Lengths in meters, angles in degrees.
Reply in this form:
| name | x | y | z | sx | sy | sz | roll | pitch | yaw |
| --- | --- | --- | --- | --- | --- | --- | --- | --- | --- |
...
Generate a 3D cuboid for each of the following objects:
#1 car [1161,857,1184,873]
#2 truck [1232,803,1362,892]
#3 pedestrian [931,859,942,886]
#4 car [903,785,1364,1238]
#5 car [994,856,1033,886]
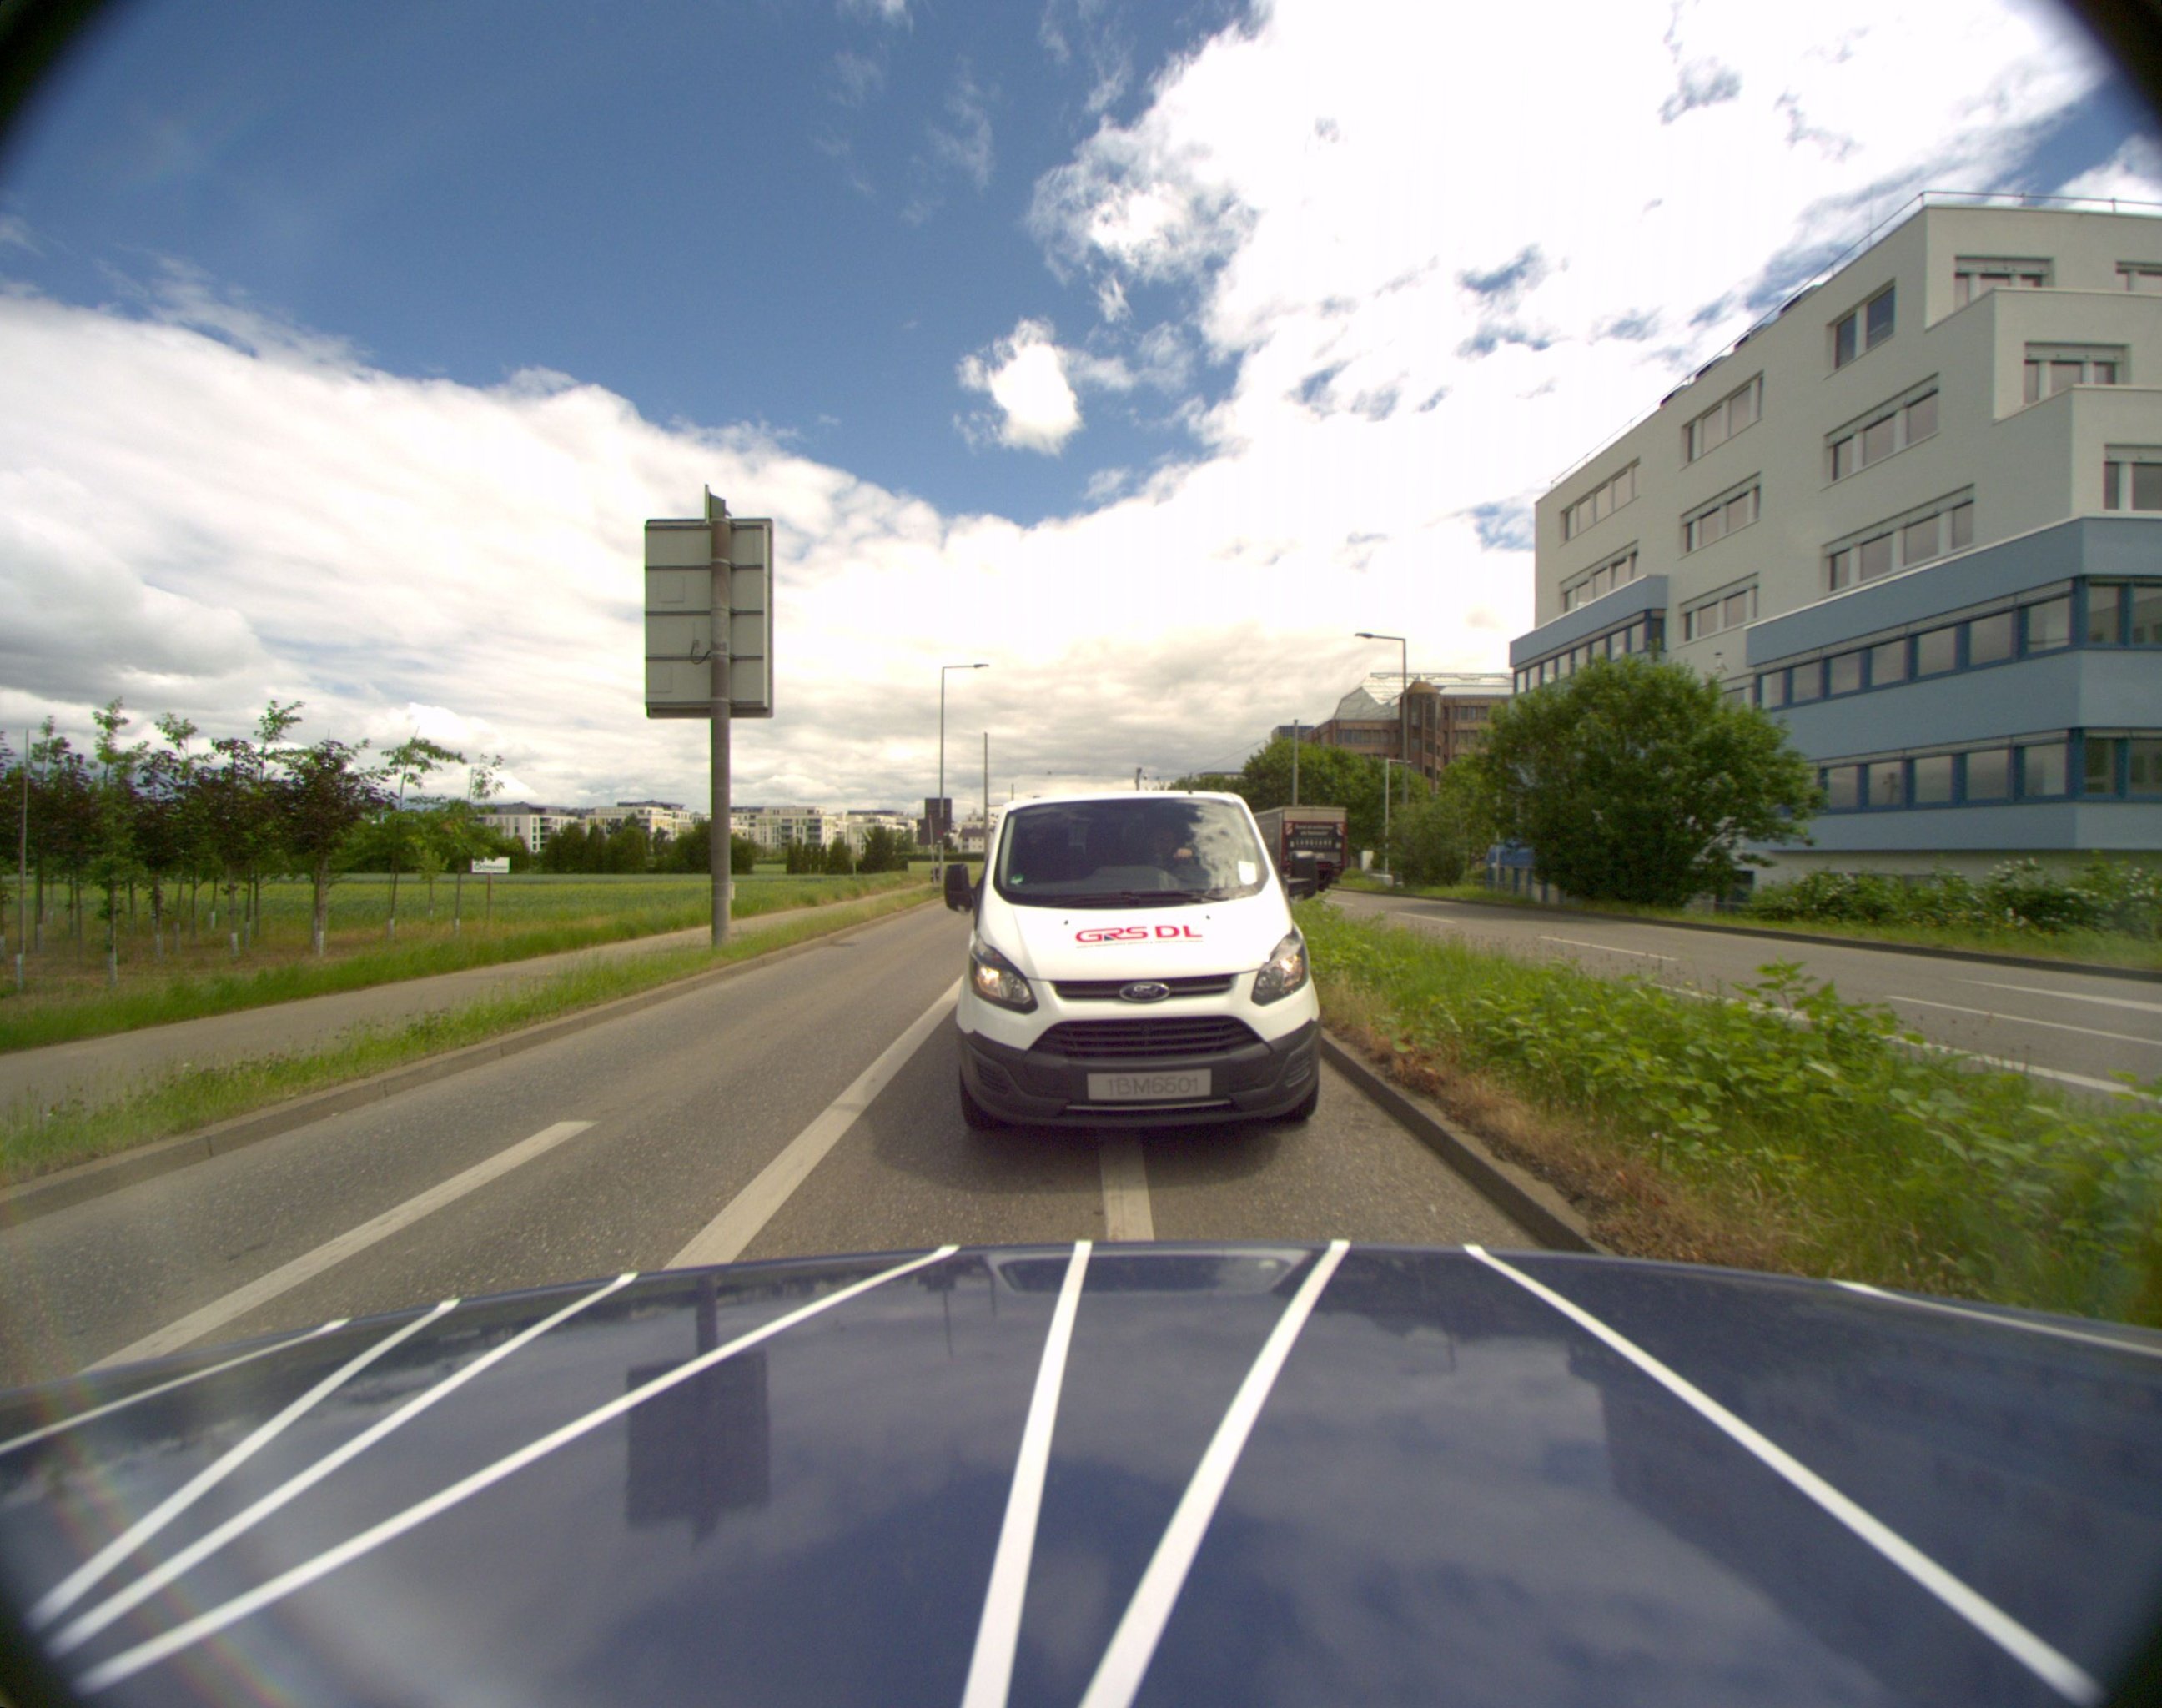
| name | x | y | z | sx | sy | sz | roll | pitch | yaw |
| --- | --- | --- | --- | --- | --- | --- | --- | --- | --- |
| car | 8.325 | 0.950 | 69.274 | 1.558 | 1.375 | 3.779 | -1 | 0 | -1 |
| truck | 9.488 | -0.293 | 34.815 | 3.176 | 3.497 | 9.525 | 0 | 1 | 0 |
| pedestrian | -9.147 | 1.158 | 48.136 | 0.492 | 1.693 | 0.626 | -2 | 1 | -1 |
| car | 0.266 | 0.691 | 5.856 | 1.968 | 1.938 | 5.055 | -2 | 0 | 1 |
| car | -3.466 | 0.829 | 39.532 | 1.683 | 1.410 | 3.739 | -1 | 1 | -1 |
